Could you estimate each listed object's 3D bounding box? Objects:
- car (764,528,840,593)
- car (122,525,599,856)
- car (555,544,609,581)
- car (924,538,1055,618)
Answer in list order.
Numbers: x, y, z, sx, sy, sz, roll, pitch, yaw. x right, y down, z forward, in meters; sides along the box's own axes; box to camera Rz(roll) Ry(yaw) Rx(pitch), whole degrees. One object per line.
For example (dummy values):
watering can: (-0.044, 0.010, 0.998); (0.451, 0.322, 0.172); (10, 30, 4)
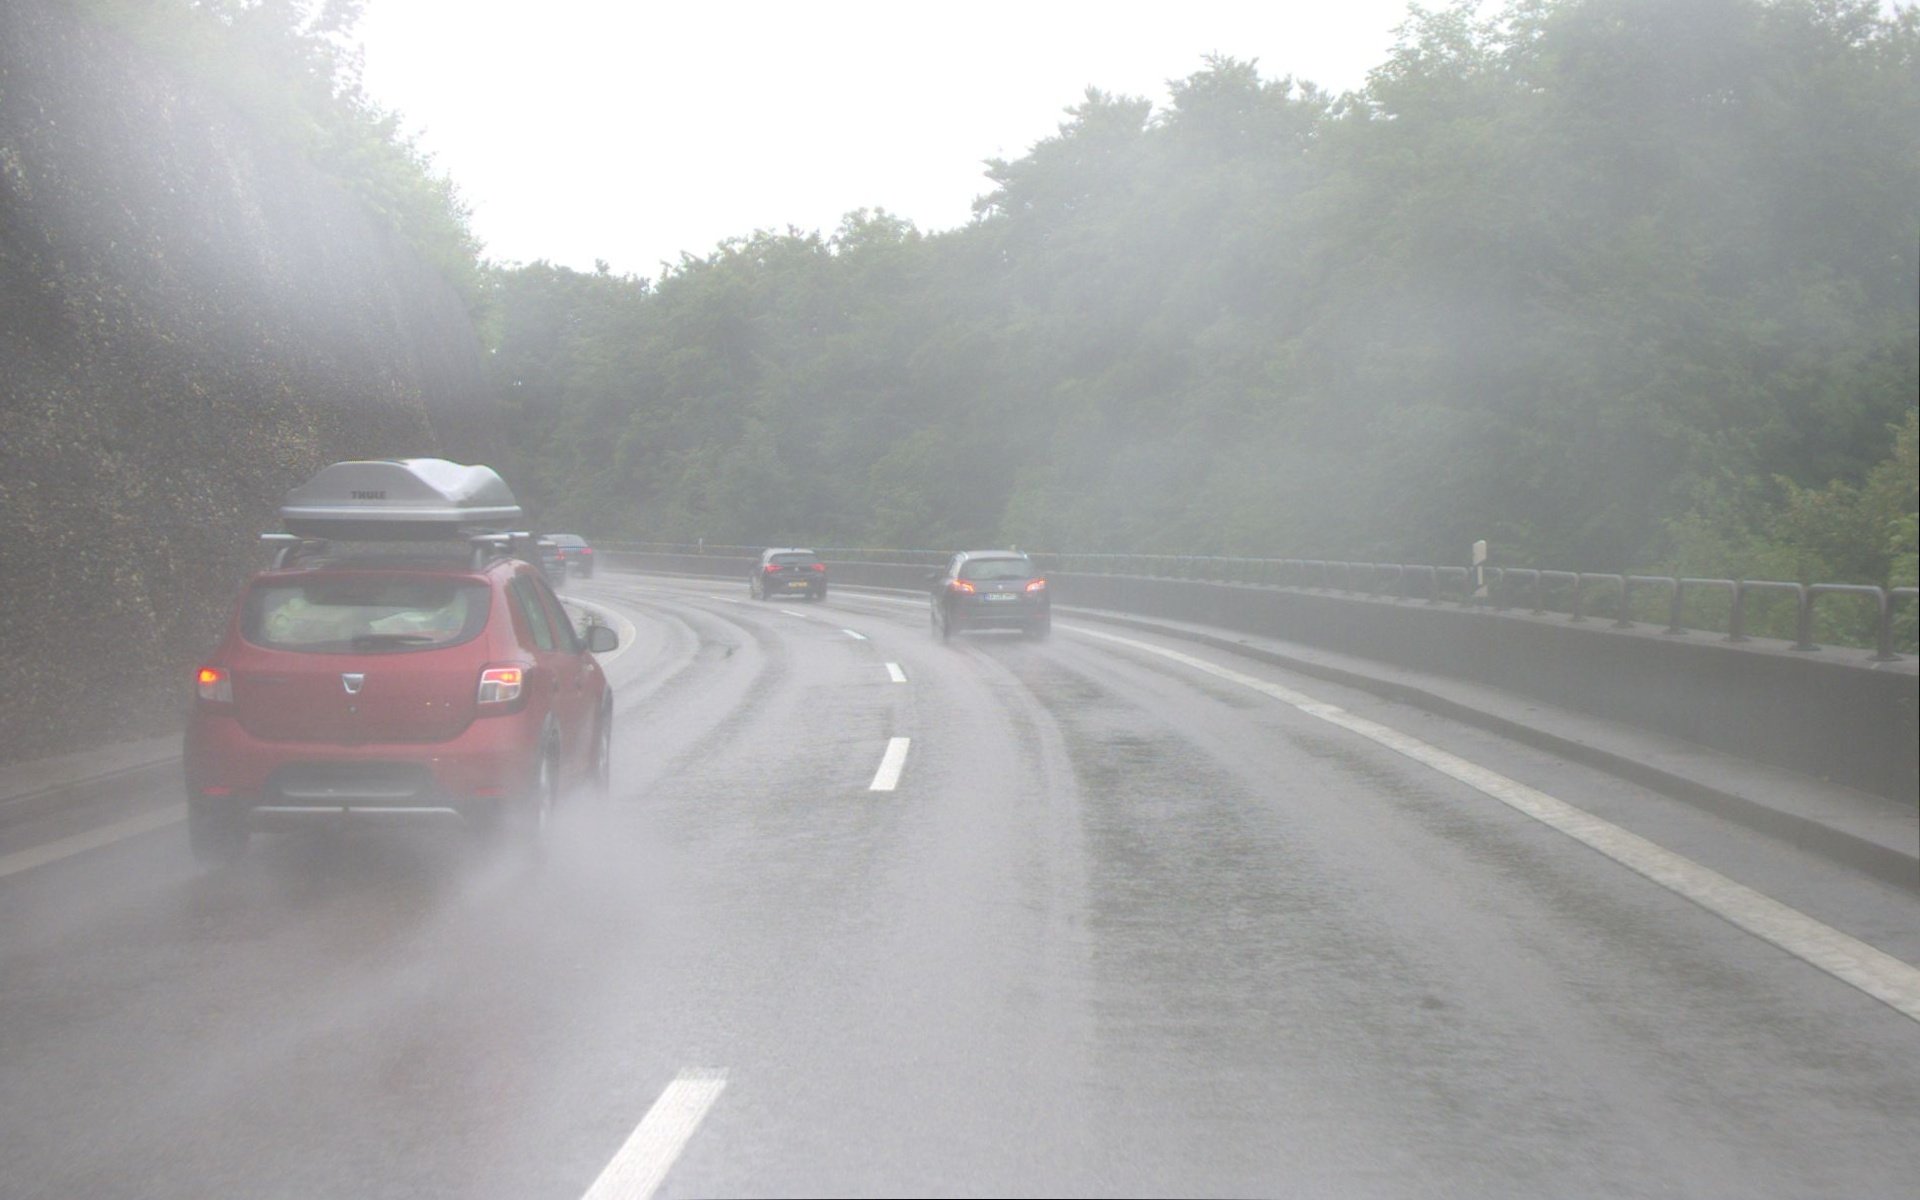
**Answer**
car: (-4.434, -1.096, 95.956); (1.993, 1.744, 4.001); (0, 0, -4)
car: (-3.014, 0.391, 18.102); (1.993, 1.546, 4.001); (0, 1, -3)
car: (-15.045, -1.488, 136.734); (1.800, 1.462, 4.001); (0, 1, -11)
car: (0.460, -0.384, 57.820); (1.800, 1.303, 4.001); (0, 1, -6)
